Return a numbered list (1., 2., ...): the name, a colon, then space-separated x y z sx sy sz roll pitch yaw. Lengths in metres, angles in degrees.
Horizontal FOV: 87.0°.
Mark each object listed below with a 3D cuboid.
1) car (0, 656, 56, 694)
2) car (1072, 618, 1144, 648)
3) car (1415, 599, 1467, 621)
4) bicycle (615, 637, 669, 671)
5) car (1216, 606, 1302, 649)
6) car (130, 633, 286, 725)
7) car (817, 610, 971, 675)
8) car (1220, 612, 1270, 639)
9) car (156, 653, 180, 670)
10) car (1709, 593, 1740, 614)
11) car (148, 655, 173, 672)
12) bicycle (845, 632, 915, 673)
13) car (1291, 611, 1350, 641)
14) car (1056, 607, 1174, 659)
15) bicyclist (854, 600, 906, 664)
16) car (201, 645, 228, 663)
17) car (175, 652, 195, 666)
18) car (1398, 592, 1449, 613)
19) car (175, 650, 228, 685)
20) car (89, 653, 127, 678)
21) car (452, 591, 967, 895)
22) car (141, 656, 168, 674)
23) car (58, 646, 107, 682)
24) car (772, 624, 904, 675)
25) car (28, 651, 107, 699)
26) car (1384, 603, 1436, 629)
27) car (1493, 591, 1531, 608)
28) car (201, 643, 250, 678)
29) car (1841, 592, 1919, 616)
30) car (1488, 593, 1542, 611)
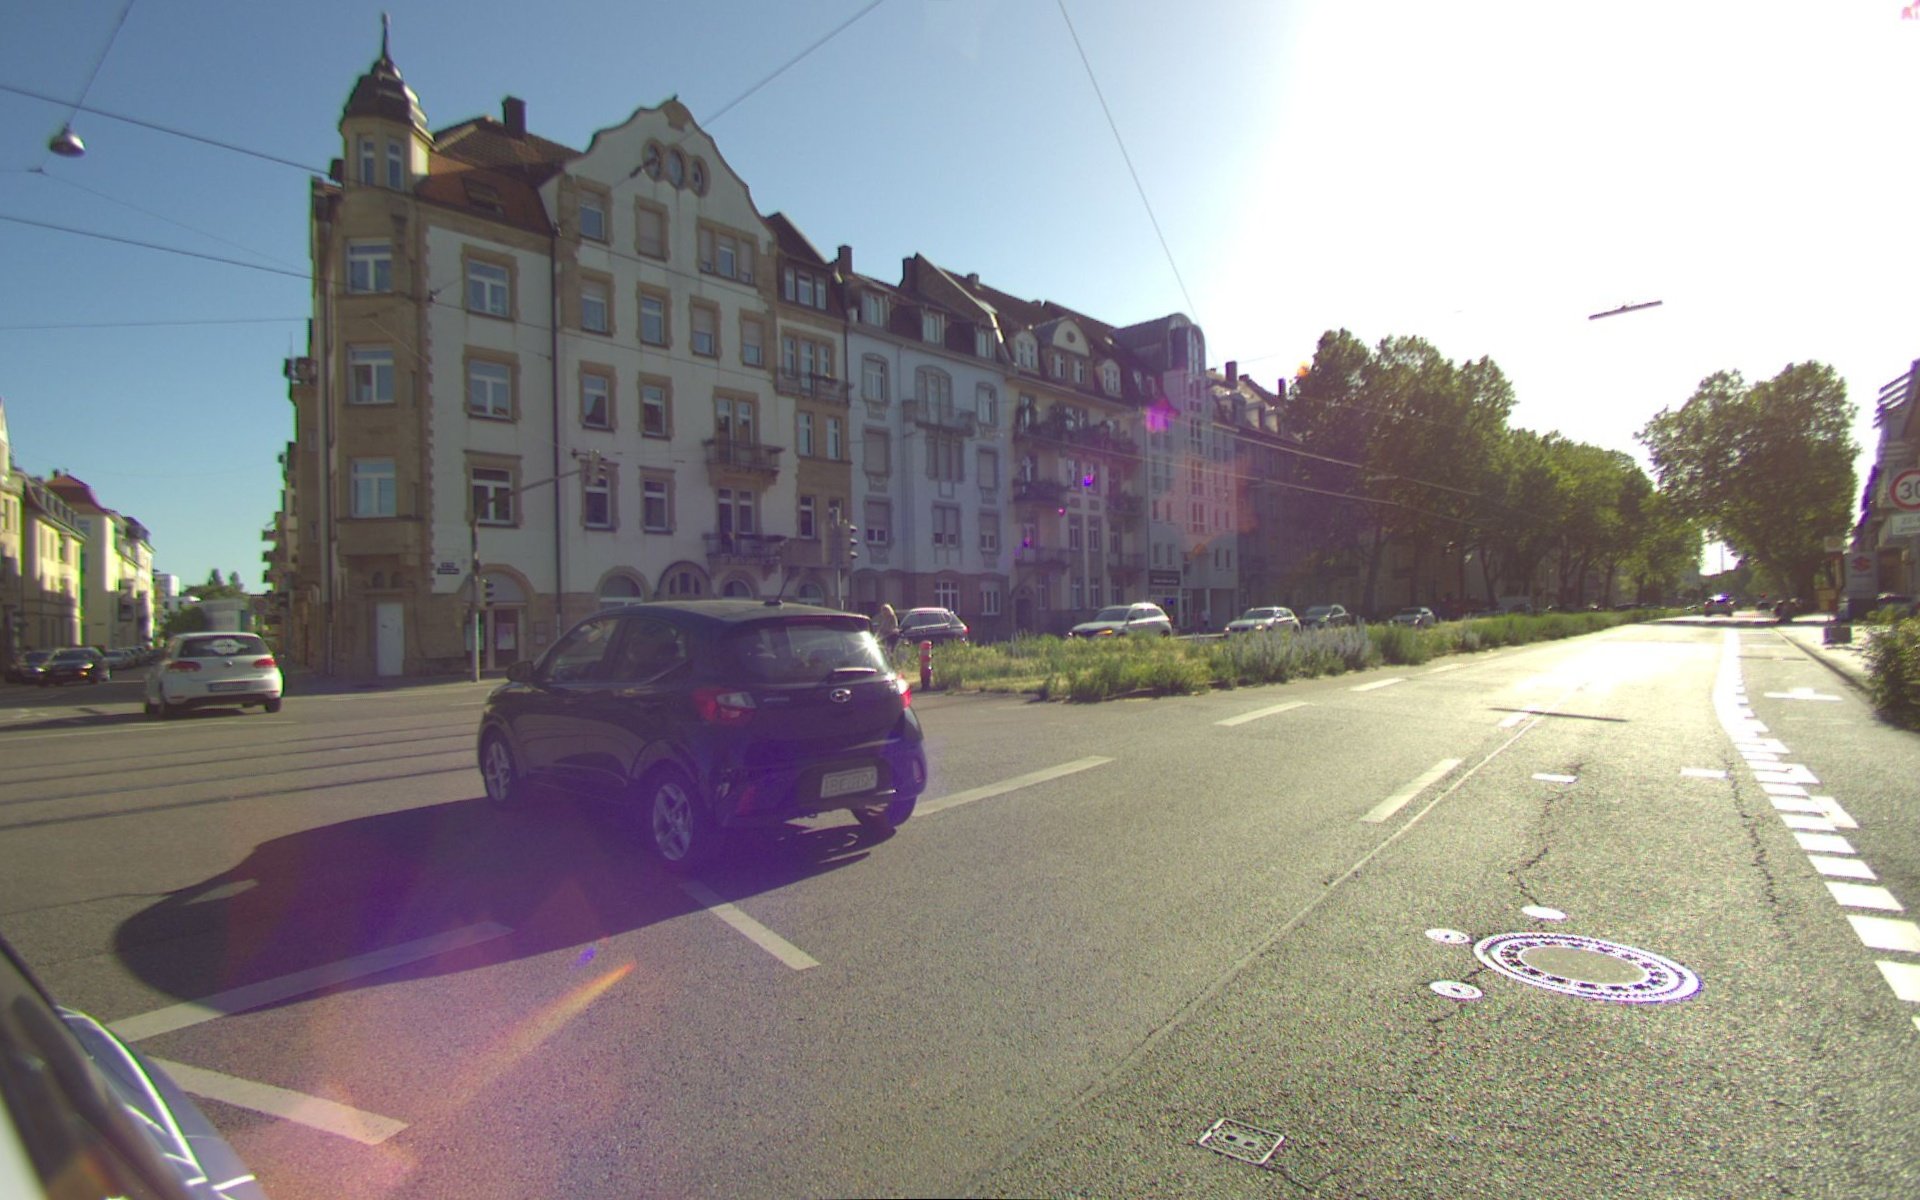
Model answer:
1. car: -43.569 3.473 46.820 1.967 1.549 4.010 -4 0 -34
2. car: 7.715 1.689 52.547 1.766 1.400 3.841 -3 -2 43
3. car: 43.830 0.894 92.327 3.757 1.718 1.845 -4 0 2
4. bicycle: -11.402 1.936 36.359 0.610 1.142 1.786 -3 -2 41
5. car: 11.794 1.066 39.743 1.765 1.541 3.843 -4 -3 41
6. car: -13.984 1.415 18.741 1.785 1.469 4.002 0 -2 -45
7. car: -1.852 1.203 29.360 2.000 1.657 4.181 -5 -3 43
8. car: 18.090 1.618 64.234 1.643 1.600 3.354 -5 -3 43
9. car: -91.468 7.088 116.904 1.848 1.679 4.010 -3 0 -34
10. car: 70.303 0.302 93.049 1.985 1.850 4.058 -2 -2 41
11. car: -88.119 7.016 111.567 1.848 1.679 4.010 -3 0 -34
12. bicycle: -1.966 1.279 24.990 0.795 0.932 1.614 -4 -2 43
13. car: 18.403 1.308 51.608 1.592 1.387 3.652 -2 -1 40
14. car: 5.004 1.038 32.360 1.766 1.541 3.963 -3 -2 43
15. bicyclist: -1.973 0.778 25.011 0.687 1.554 1.059 -3 -2 43
16. car: -74.708 5.387 101.448 1.886 1.741 4.358 0 -3 -33
17. car: -104.568 7.954 136.555 1.848 1.679 4.010 -3 0 -34
18. car: 43.180 0.246 94.377 3.757 1.718 1.845 -4 0 2
19. car: -32.217 2.858 43.056 1.531 1.422 3.581 1 -3 -33
20. car: -62.092 4.798 73.809 1.805 1.608 3.828 -4 -1 -36
21. car: -1.892 0.733 6.857 3.810 1.475 1.642 -2 -1 45
22. car: -85.415 6.837 107.337 1.848 1.679 4.010 -3 0 -34
23. car: -54.887 3.997 63.356 1.804 2.050 3.829 -4 -1 -35
24. car: -3.773 1.529 31.675 1.766 1.400 3.841 -4 -2 43
25. car: -36.139 2.986 41.079 1.848 1.679 4.010 -3 0 -34
26. car: 28.546 1.002 64.118 1.818 1.603 4.188 -2 -1 41
27. car: 65.679 -0.089 120.387 3.789 1.718 1.830 -4 0 27
28. car: -40.515 3.313 55.901 1.887 1.671 4.358 -5 1 -34
29. car: 53.632 0.232 58.497 3.998 1.318 1.521 -2 -2 42
30. car: 59.513 0.210 108.574 4.533 1.718 1.844 -4 0 4
